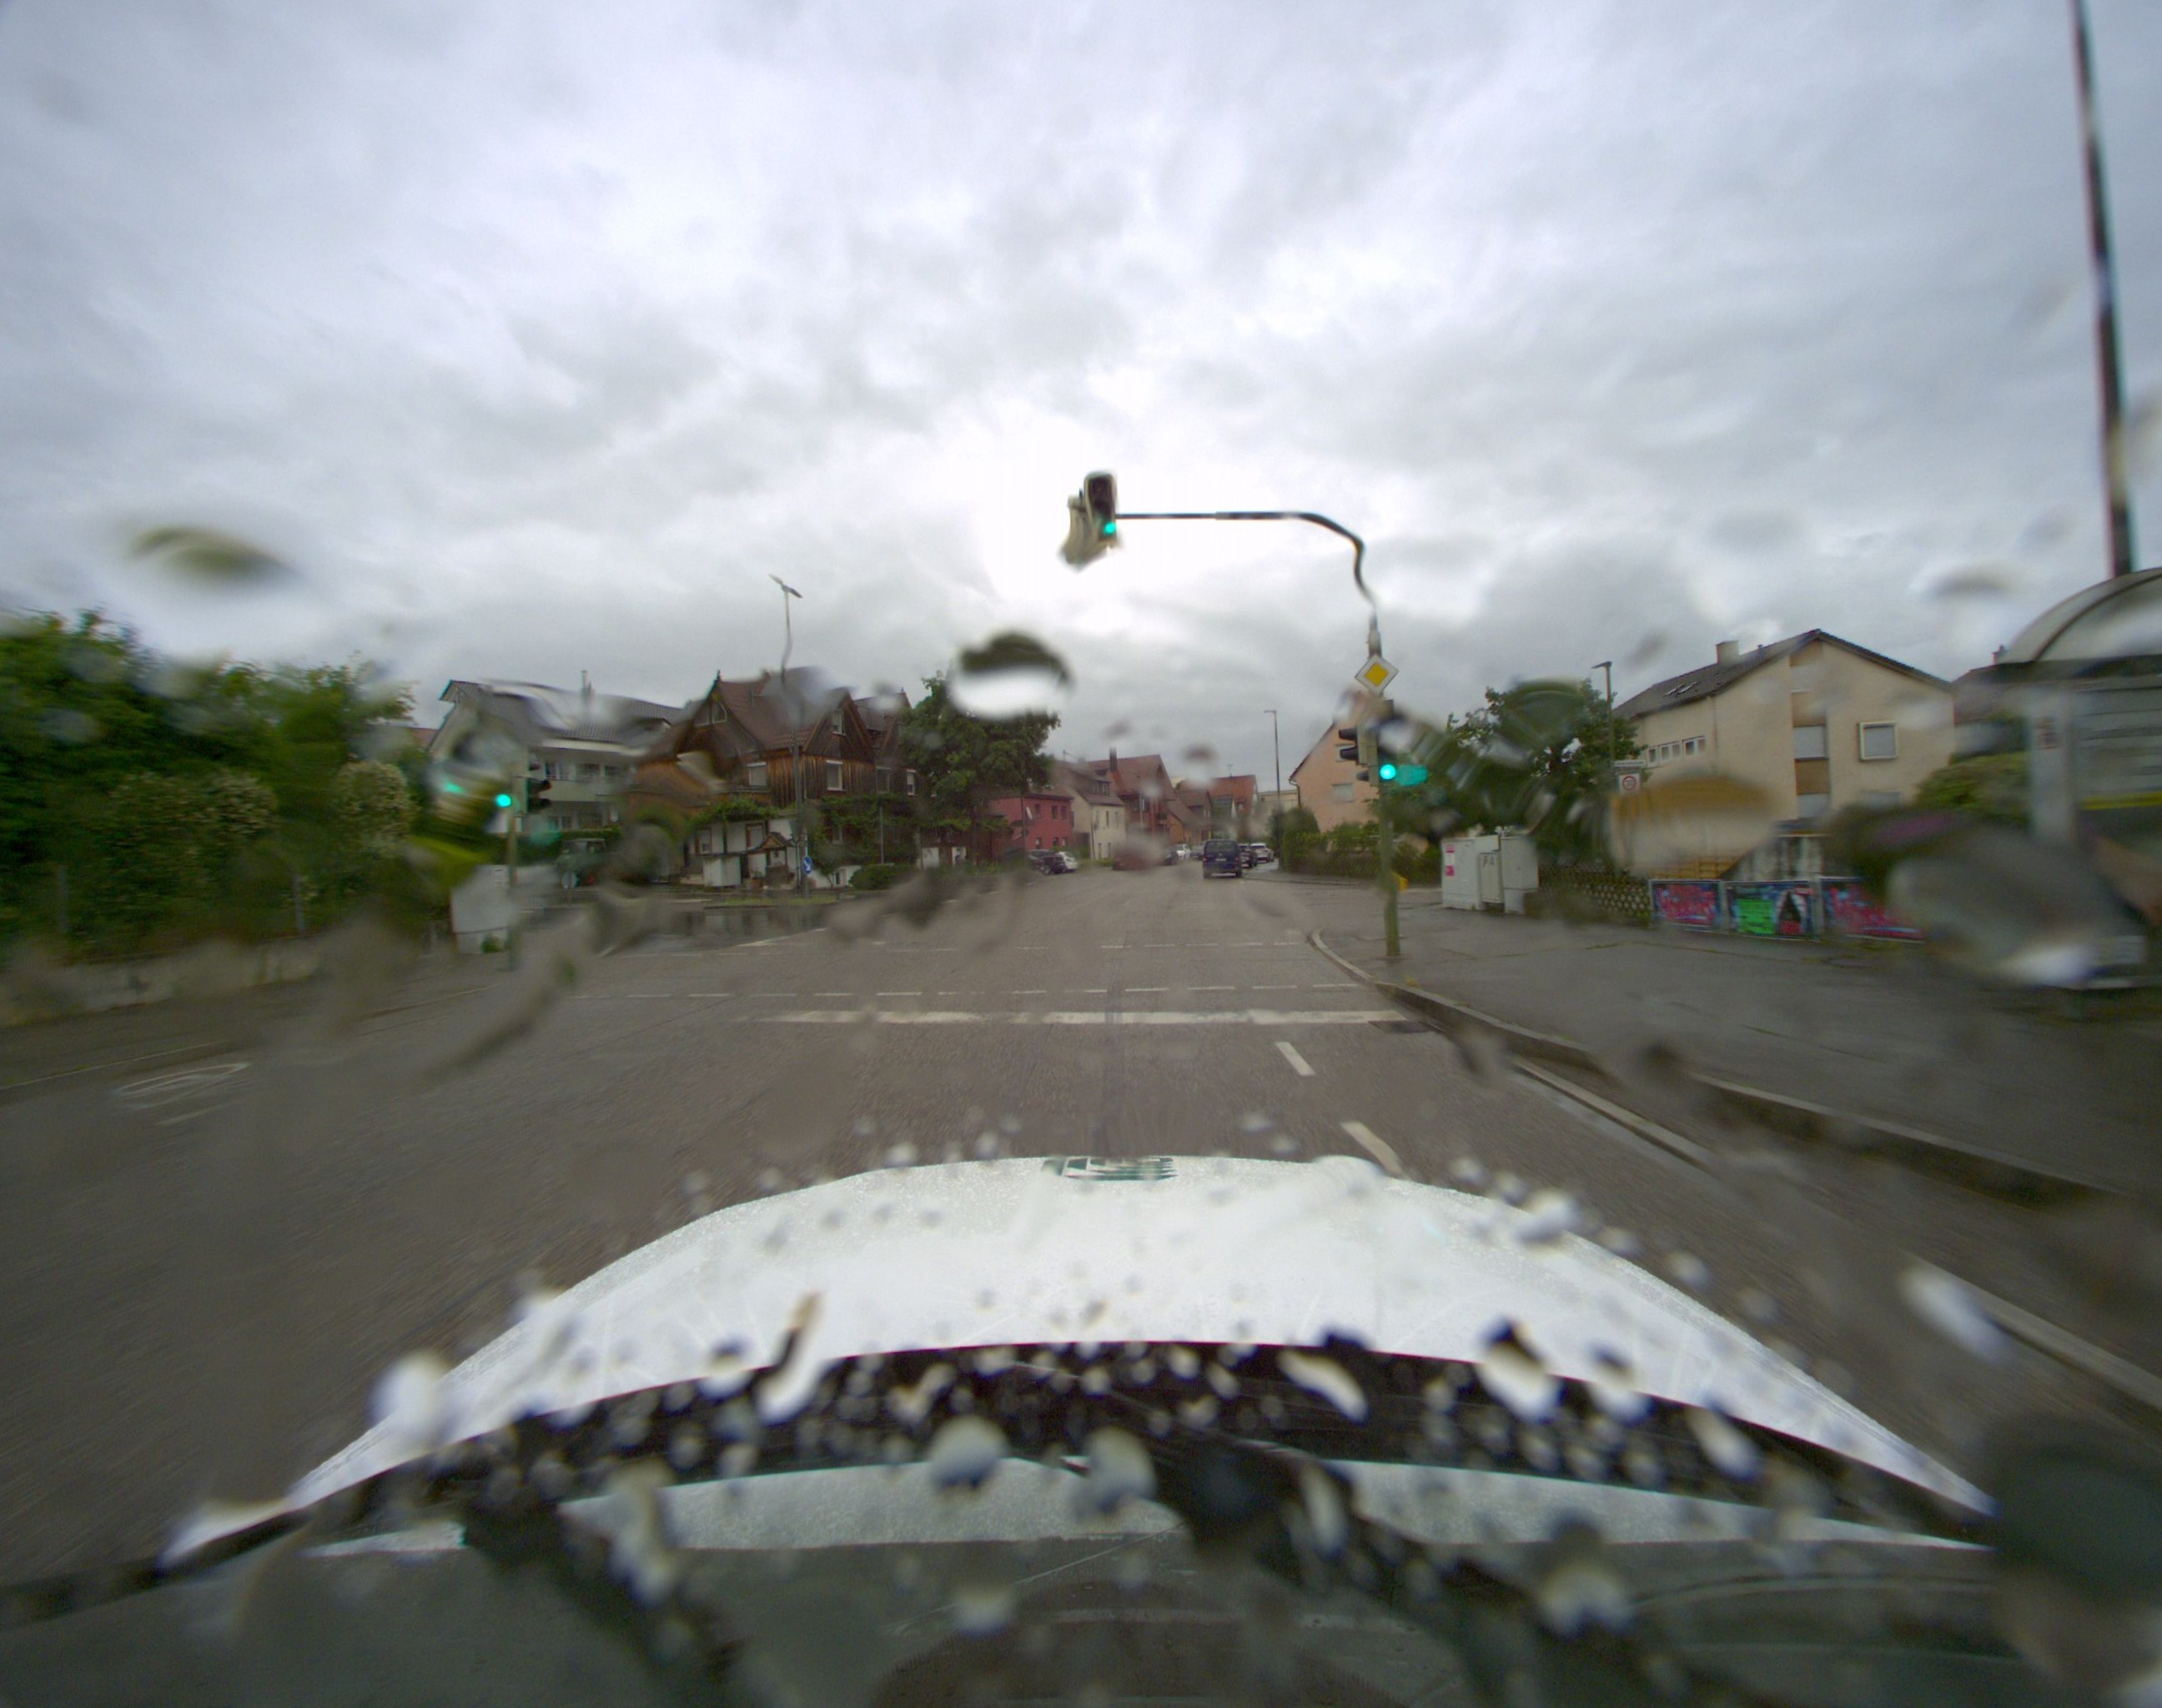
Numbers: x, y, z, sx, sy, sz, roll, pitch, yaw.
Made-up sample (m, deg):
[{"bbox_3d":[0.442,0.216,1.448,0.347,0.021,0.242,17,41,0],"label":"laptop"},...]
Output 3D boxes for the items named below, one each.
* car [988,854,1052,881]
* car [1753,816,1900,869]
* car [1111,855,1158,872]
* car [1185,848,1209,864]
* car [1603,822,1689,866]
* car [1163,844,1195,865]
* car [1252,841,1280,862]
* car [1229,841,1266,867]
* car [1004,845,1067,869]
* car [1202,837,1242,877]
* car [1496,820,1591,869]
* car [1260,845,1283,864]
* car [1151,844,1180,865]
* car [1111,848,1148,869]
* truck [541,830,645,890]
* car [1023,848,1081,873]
[{"bbox_3d":[-3.726,0.800,49.505,3.416,1.418,1.641,-3,0,21],"label":"car"},{"bbox_3d":[28.077,-0.431,30.745,3.981,1.670,1.890,-4,0,-6],"label":"car"},{"bbox_3d":[5.270,0.900,79.778,4.133,1.403,1.800,-4,0,26],"label":"car"},{"bbox_3d":[11.579,0.197,80.953,1.565,1.497,3.585,-3,0,20],"label":"car"},{"bbox_3d":[25.238,-0.445,36.523,1.646,1.818,3.649,-2,0,8],"label":"car"},{"bbox_3d":[8.727,0.020,72.096,1.750,1.619,4.679,-3,0,19],"label":"car"},{"bbox_3d":[15.106,-0.190,66.323,1.788,1.595,4.632,-2,0,17],"label":"car"},{"bbox_3d":[11.708,-0.030,56.962,1.893,1.717,4.578,-1,1,19],"label":"car"},{"bbox_3d":[-2.894,0.189,51.922,3.544,1.506,1.866,0,1,23],"label":"car"},{"bbox_3d":[7.266,0.118,42.240,1.919,1.902,4.805,-1,0,8],"label":"car"},{"bbox_3d":[21.493,-0.448,38.113,1.936,2.083,5.194,-2,1,6],"label":"car"},{"bbox_3d":[19.546,0.038,83.338,1.734,1.710,4.021,-3,0,20],"label":"car"},{"bbox_3d":[7.026,0.048,67.675,1.592,1.617,3.293,-3,0,20],"label":"car"},{"bbox_3d":[3.454,0.283,57.722,1.613,1.355,4.130,-1,1,18],"label":"car"},{"bbox_3d":[-23.050,0.254,38.628,1.760,2.613,3.865,-3,0,21],"label":"truck"},{"bbox_3d":[-1.927,0.419,54.262,3.431,1.479,1.599,-3,0,21],"label":"car"}]
